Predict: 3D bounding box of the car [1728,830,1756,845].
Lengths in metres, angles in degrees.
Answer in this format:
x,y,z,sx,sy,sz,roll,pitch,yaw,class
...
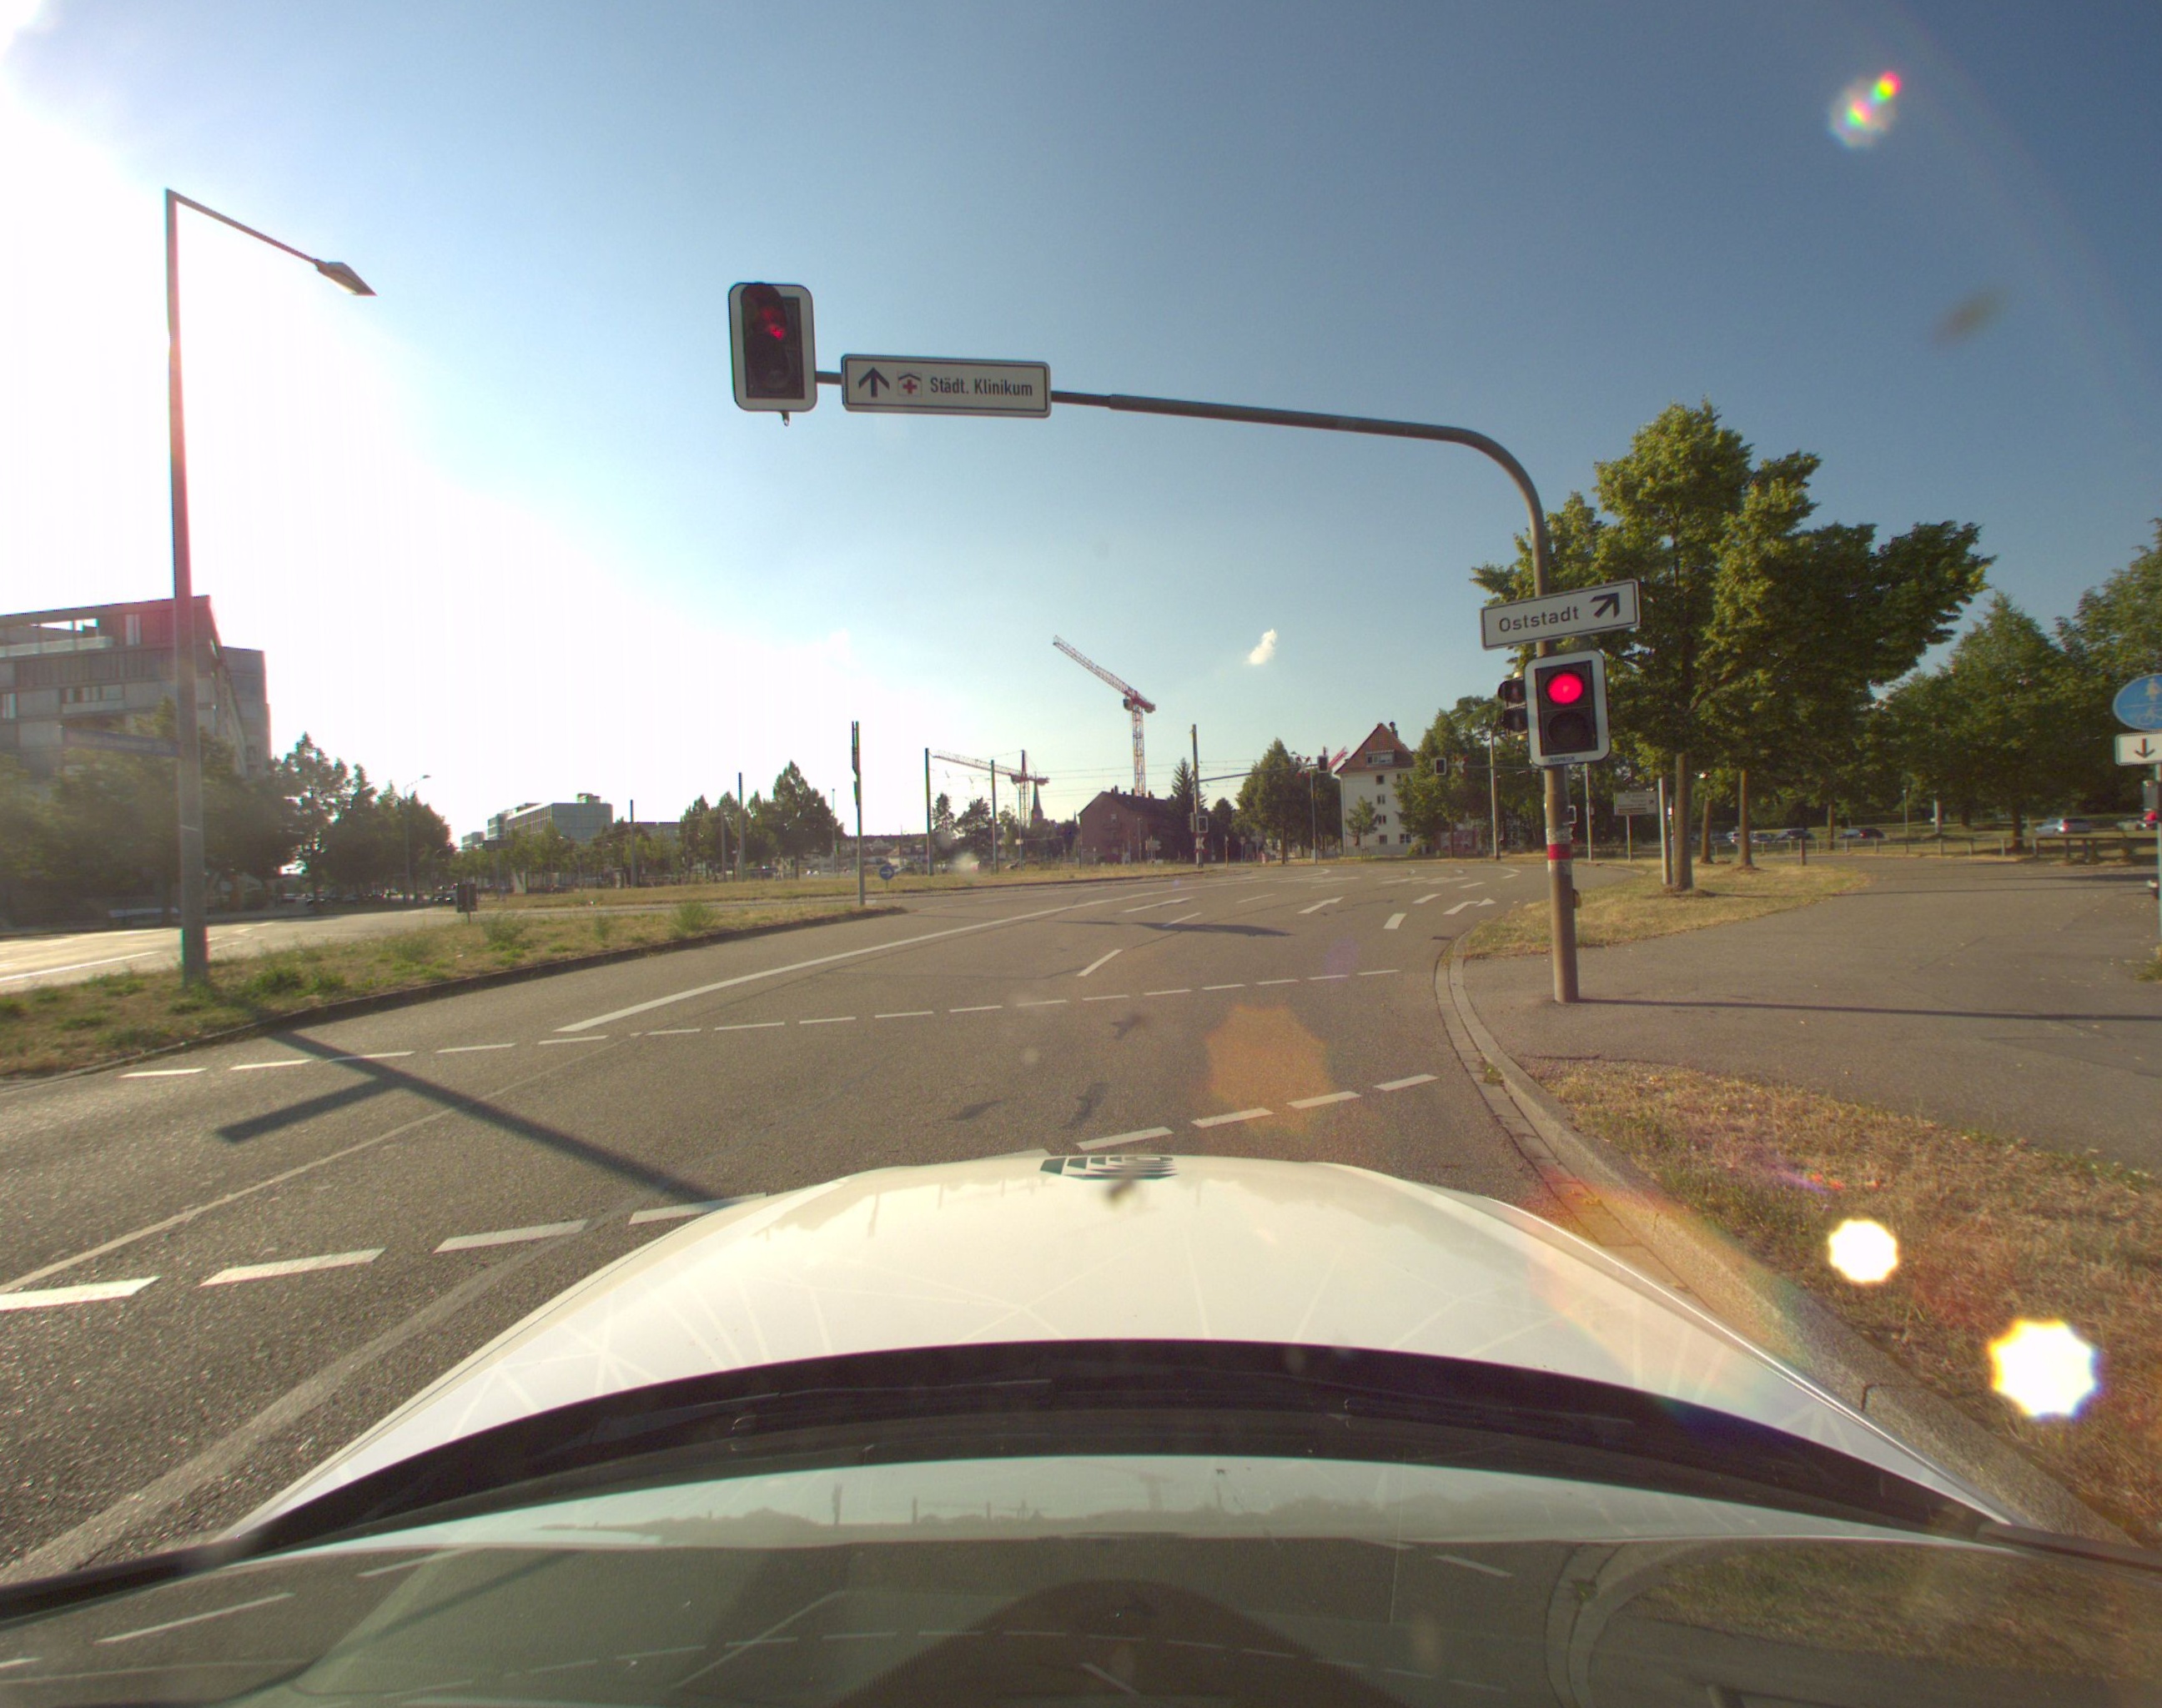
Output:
x,y,z,sx,sy,sz,roll,pitch,yaw,class
67.186,-1.634,82.806,1.586,1.402,3.993,-3,-1,30,car

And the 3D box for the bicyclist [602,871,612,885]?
x,y,z,sx,sy,sz,roll,pitch,yaw,class
-47.189,2.412,81.086,0.658,1.325,0.512,-2,0,-45,bicyclist

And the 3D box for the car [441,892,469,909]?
x,y,z,sx,sy,sz,roll,pitch,yaw,class
-63.631,4.718,82.768,2.011,1.475,3.952,-2,0,-42,car

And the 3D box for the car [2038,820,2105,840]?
x,y,z,sx,sy,sz,roll,pitch,yaw,class
78.349,-1.884,64.473,1.804,1.403,4.023,-3,-1,26,car

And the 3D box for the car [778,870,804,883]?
x,y,z,sx,sy,sz,roll,pitch,yaw,class
-47.095,3.693,132.053,3.948,2.013,2.013,-3,0,36,car

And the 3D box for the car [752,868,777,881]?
x,y,z,sx,sy,sz,roll,pitch,yaw,class
-53.345,3.409,137.257,3.948,2.013,2.013,-3,0,36,car

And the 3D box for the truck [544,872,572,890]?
x,y,z,sx,sy,sz,roll,pitch,yaw,class
-102.002,5.241,158.698,3.156,3.231,7.085,-2,0,-44,truck

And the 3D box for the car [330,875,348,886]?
x,y,z,sx,sy,sz,roll,pitch,yaw,class
-110.643,3.925,121.471,1.800,1.556,3.950,0,-1,-45,car

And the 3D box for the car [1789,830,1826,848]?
x,y,z,sx,sy,sz,roll,pitch,yaw,class
63.452,-1.282,71.139,1.586,1.402,3.993,-3,-1,30,car

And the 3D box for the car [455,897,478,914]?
x,y,z,sx,sy,sz,roll,pitch,yaw,class
-58.552,4.906,77.603,1.493,1.475,3.260,-2,0,-42,car

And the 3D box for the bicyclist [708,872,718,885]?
x,y,z,sx,sy,sz,roll,pitch,yaw,class
-40.152,2.677,88.948,0.959,1.357,0.687,-2,0,-25,bicyclist

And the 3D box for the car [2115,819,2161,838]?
x,y,z,sx,sy,sz,roll,pitch,yaw,class
82.734,-1.992,62.987,1.804,1.403,4.023,-3,-1,26,car

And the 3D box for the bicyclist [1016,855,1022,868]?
x,y,z,sx,sy,sz,roll,pitch,yaw,class
-7.352,0.861,96.398,0.621,1.511,0.418,-2,0,-4,bicyclist

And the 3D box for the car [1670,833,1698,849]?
x,y,z,sx,sy,sz,roll,pitch,yaw,class
56.020,-1.198,75.670,1.586,1.402,3.993,-3,-1,30,car

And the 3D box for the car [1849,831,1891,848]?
x,y,z,sx,sy,sz,roll,pitch,yaw,class
67.074,-1.232,69.266,1.586,1.310,3.993,-3,-1,30,car

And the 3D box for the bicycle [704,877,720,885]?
x,y,z,sx,sy,sz,roll,pitch,yaw,class
-40.283,2.947,88.892,1.622,0.860,0.541,-2,0,-24,bicycle

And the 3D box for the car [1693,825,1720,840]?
x,y,z,sx,sy,sz,roll,pitch,yaw,class
64.404,-2.172,83.901,1.586,1.402,3.993,-3,-1,30,car

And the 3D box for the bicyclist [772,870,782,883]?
x,y,z,sx,sy,sz,roll,pitch,yaw,class
-33.843,2.512,90.737,0.958,1.357,0.688,-2,0,-25,bicyclist

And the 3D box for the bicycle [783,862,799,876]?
x,y,z,sx,sy,sz,roll,pitch,yaw,class
-33.168,1.729,93.110,1.547,1.473,0.475,-2,0,-27,bicycle

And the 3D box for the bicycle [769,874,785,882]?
x,y,z,sx,sy,sz,roll,pitch,yaw,class
-33.852,2.679,90.728,1.622,0.860,0.541,-2,0,-24,bicycle

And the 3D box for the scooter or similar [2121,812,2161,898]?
x,y,z,sx,sy,sz,roll,pitch,yaw,class
15.436,-0.005,11.615,1.172,1.160,0.340,-4,-3,-23,scooter or similar

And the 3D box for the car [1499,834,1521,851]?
x,y,z,sx,sy,sz,roll,pitch,yaw,class
42.854,-1.142,81.277,1.754,1.618,3.993,-3,-1,30,car

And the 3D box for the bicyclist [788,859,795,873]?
x,y,z,sx,sy,sz,roll,pitch,yaw,class
-33.113,1.379,93.104,0.610,1.672,0.473,-2,-1,-27,bicyclist

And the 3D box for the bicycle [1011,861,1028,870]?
x,y,z,sx,sy,sz,roll,pitch,yaw,class
-7.234,1.339,96.401,1.983,0.918,0.429,-2,0,-4,bicycle

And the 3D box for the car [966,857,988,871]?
x,y,z,sx,sy,sz,roll,pitch,yaw,class
-14.880,1.397,116.791,1.929,1.854,3.965,-2,0,-26,car

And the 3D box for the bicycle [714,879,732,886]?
x,y,z,sx,sy,sz,roll,pitch,yaw,class
-38.708,3.079,88.064,0.474,0.744,1.732,-3,0,45,bicycle

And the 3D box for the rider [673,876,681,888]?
x,y,z,sx,sy,sz,roll,pitch,yaw,class
-44.728,3.068,90.209,0.658,1.325,0.679,-2,0,-41,rider

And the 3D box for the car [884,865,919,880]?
x,y,z,sx,sy,sz,roll,pitch,yaw,class
-23.367,2.401,105.891,4.013,1.816,1.981,-2,0,-30,car

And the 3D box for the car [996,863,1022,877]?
x,y,z,sx,sy,sz,roll,pitch,yaw,class
-11.757,2.611,133.352,3.776,2.014,1.680,-3,-1,20,car

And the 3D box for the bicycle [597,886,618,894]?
x,y,z,sx,sy,sz,roll,pitch,yaw,class
-47.174,3.561,81.084,0.474,0.744,1.732,-3,0,45,bicycle
